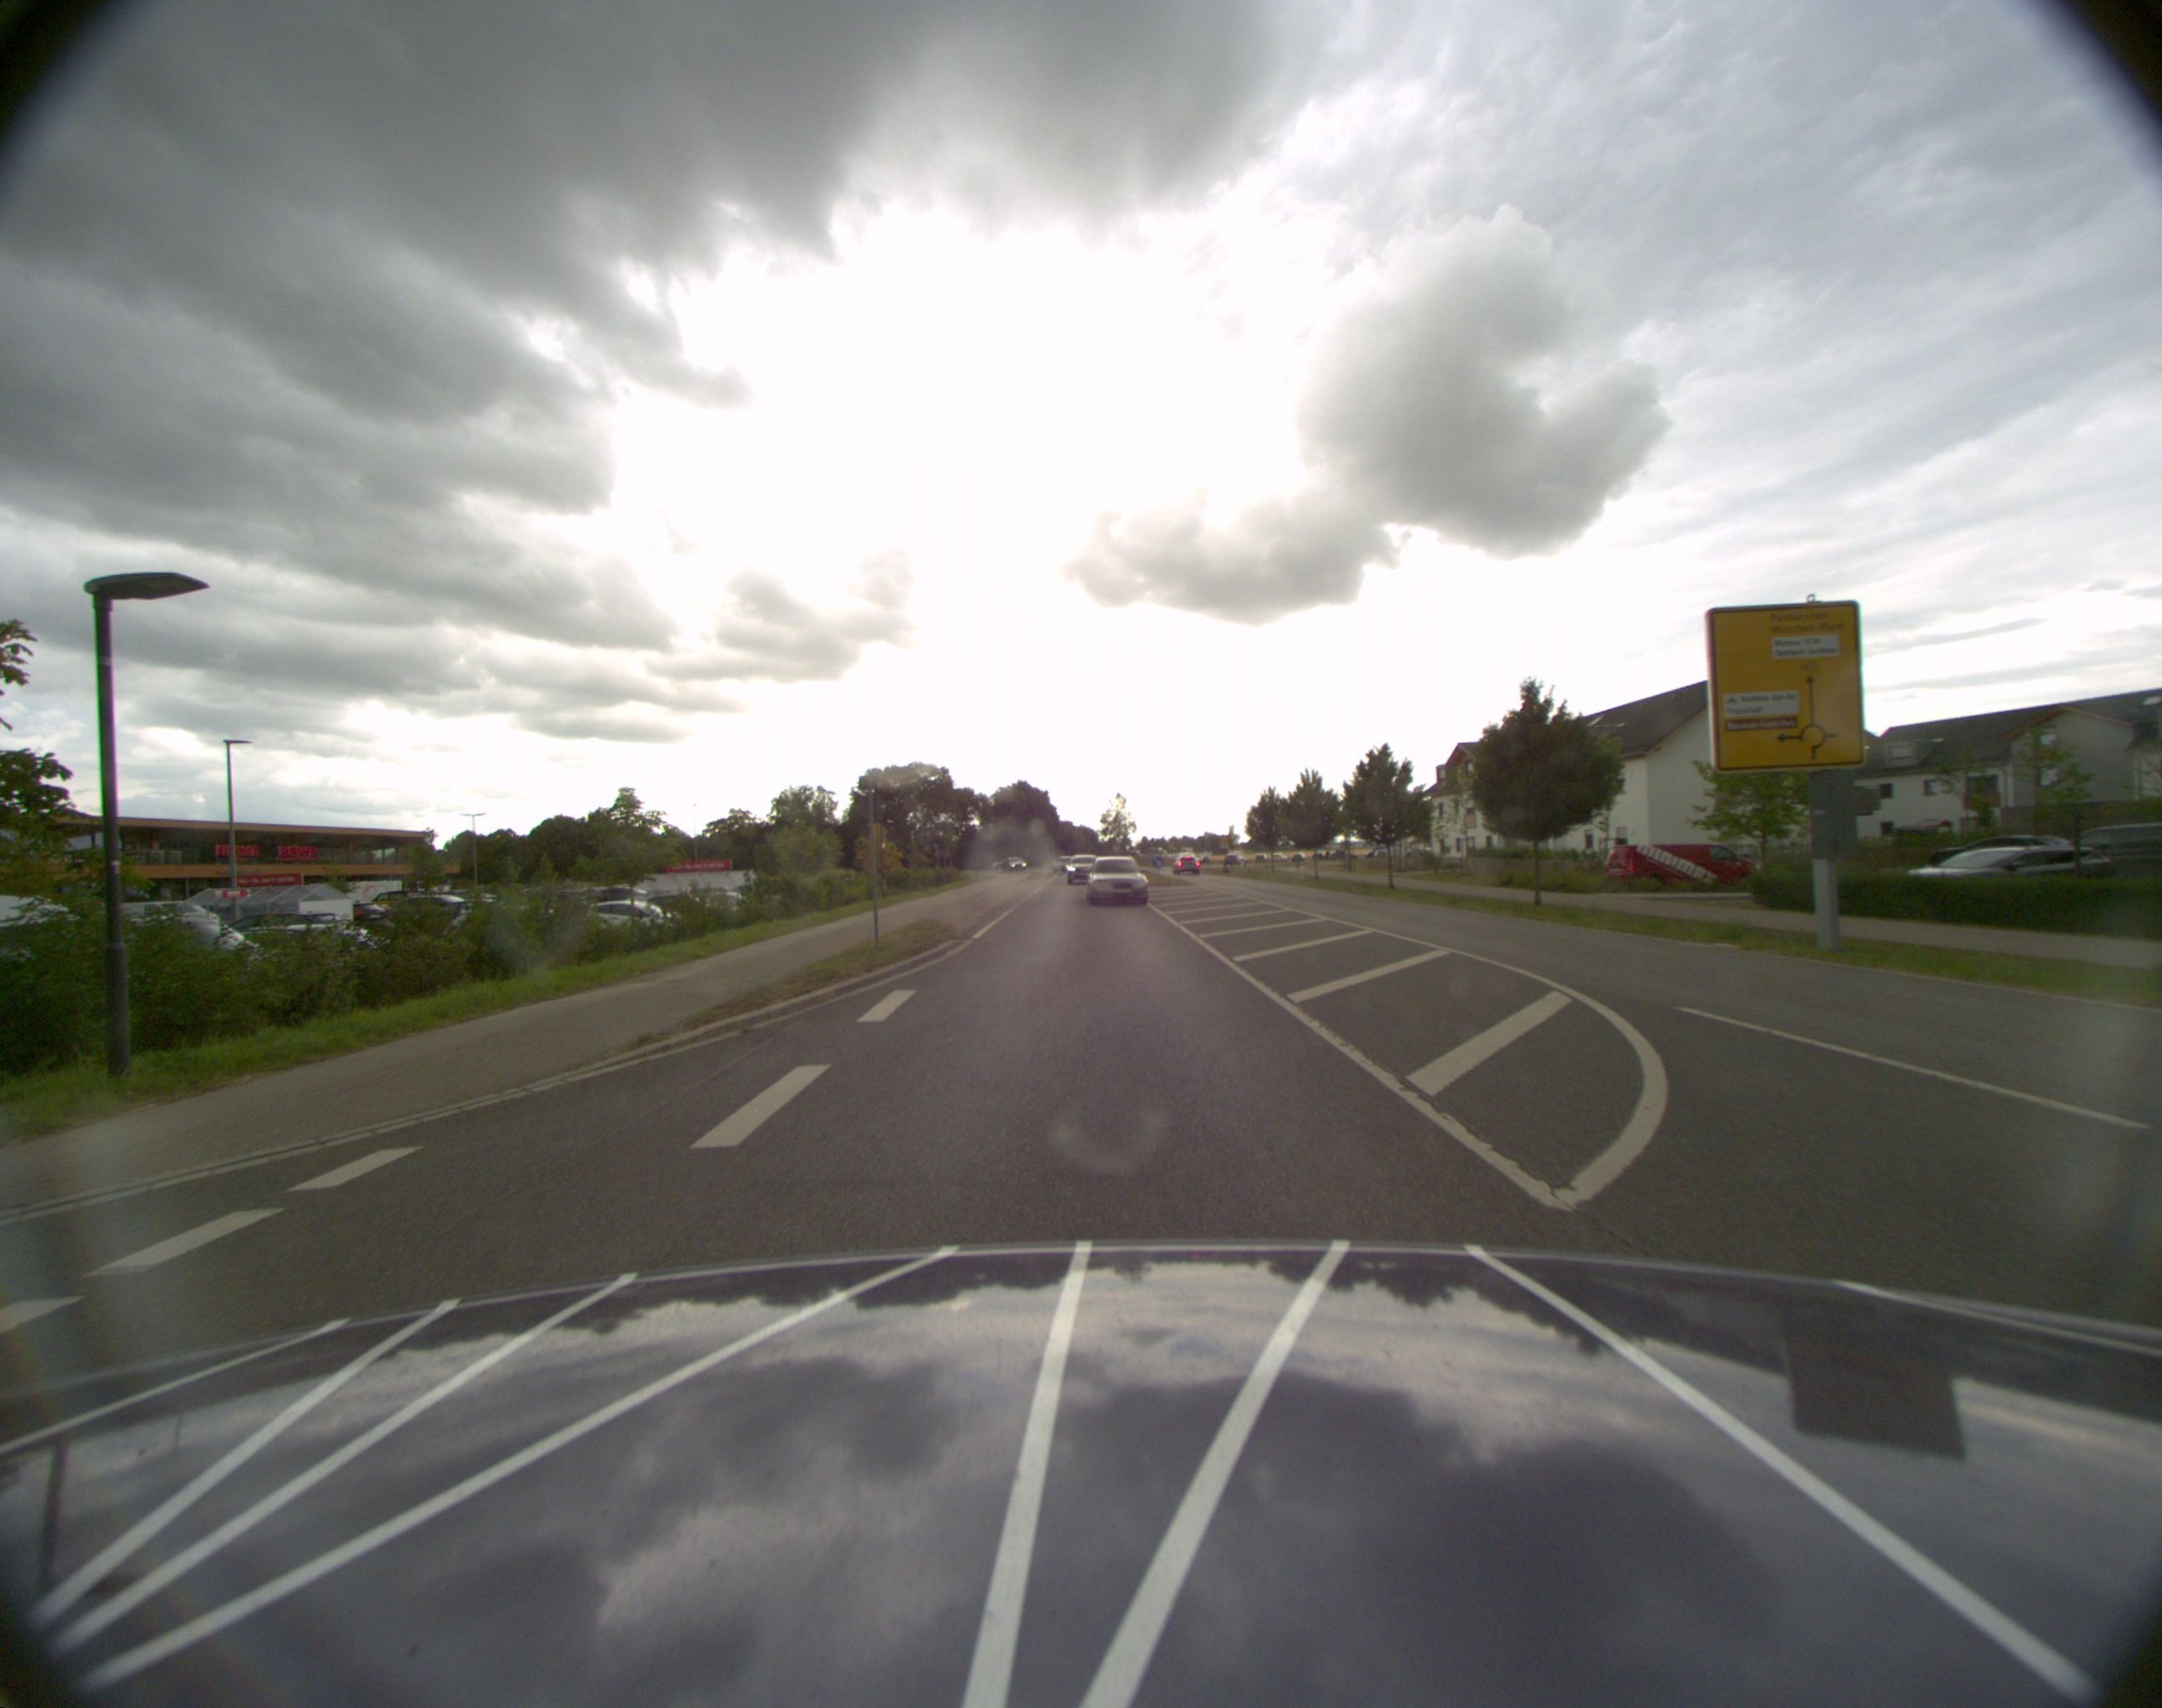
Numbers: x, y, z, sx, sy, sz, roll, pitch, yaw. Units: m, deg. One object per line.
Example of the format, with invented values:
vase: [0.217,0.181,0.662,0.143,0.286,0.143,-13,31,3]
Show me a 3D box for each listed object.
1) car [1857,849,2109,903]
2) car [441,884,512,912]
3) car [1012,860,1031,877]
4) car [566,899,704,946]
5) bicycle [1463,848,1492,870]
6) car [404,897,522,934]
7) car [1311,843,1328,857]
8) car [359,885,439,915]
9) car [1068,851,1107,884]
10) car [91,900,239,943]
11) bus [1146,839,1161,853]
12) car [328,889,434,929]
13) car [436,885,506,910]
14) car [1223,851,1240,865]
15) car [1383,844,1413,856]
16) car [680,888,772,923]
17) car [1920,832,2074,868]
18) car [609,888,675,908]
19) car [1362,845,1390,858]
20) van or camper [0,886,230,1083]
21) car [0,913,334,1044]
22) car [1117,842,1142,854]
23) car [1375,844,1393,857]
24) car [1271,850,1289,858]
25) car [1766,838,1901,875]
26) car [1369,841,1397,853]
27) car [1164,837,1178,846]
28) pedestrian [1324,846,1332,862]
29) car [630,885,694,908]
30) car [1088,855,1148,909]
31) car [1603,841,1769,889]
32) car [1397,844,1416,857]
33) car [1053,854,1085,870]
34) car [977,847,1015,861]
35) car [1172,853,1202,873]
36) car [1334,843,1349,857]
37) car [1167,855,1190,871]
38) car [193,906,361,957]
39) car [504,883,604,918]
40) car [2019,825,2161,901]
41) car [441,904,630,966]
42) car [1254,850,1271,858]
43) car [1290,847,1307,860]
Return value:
car: [25.822,0.611,21.888,4.917,1.422,1.906,-1,0,1]
car: [-46.895,3.417,58.989,3.995,2.002,2.072,-1,0,5]
car: [-6.888,1.659,87.293,2.000,1.827,3.997,-1,0,-7]
car: [-16.726,2.552,28.606,4.157,1.529,1.676,-1,0,-2]
bicycle: [25.701,0.332,49.262,0.684,1.404,2.343,-1,0,0]
car: [-29.780,2.938,36.724,3.997,1.433,2.000,-3,0,-1]
car: [36.991,-0.613,117.613,1.995,2.002,4.007,-1,0,25]
car: [-48.377,3.238,53.954,3.995,2.002,2.001,-1,0,5]
car: [0.434,0.688,41.204,1.870,1.578,5.063,-2,1,3]
car: [-47.484,3.456,39.479,5.142,2.002,2.000,-1,0,-1]
bus: [17.536,-1.899,183.726,2.991,3.261,6.484,-1,0,-1]
car: [-37.865,2.968,41.139,3.995,2.002,2.001,-1,0,5]
car: [-48.727,3.485,60.715,3.995,1.837,2.072,-1,0,5]
car: [16.934,0.430,85.404,1.773,1.435,4.004,-1,0,13]
car: [51.706,-0.672,124.018,4.000,2.002,1.998,-1,0,-8]
car: [-17.472,2.524,37.511,3.766,1.529,1.676,-1,0,-2]
car: [40.161,-0.166,33.481,1.998,1.499,4.000,-1,0,0]
car: [-34.942,3.465,60.500,4.127,1.476,2.001,-1,0,5]
car: [49.589,-0.419,127.744,4.001,2.002,1.998,-1,0,-12]
van or camper: [-16.759,1.766,10.818,6.484,2.450,2.281,-1,0,-2]
car: [-16.894,2.183,13.787,4.605,2.002,2.000,-1,0,-2]
car: [7.440,-0.920,116.504,1.994,1.674,4.008,-1,0,37]
car: [46.295,-0.497,116.026,1.995,2.002,4.007,-1,0,28]
car: [31.547,-0.047,120.399,1.995,1.280,4.007,-1,0,25]
car: [33.094,0.115,33.587,1.998,1.499,4.000,-1,0,0]
car: [52.170,-1.227,131.363,4.001,2.002,1.998,-1,0,-12]
car: [15.017,-2.040,127.080,1.774,1.435,4.000,-1,0,0]
pedestrian: [25.504,0.006,78.318,0.547,1.521,0.586,-3,0,0]
car: [-29.877,3.032,54.296,3.558,1.524,1.753,-1,0,-1]
car: [1.177,0.807,23.865,1.700,1.458,4.000,-1,1,3]
car: [23.944,0.421,30.235,4.915,1.805,1.907,-1,0,5]
car: [48.824,-0.531,113.984,2.226,2.002,4.007,-1,0,28]
car: [-1.185,0.752,74.638,2.002,1.510,3.764,-1,0,-21]
car: [-11.384,0.048,101.332,4.775,1.794,1.997,-1,0,-17]
car: [8.213,0.687,59.192,1.774,1.435,4.000,-1,0,0]
car: [39.776,-0.585,116.074,1.996,2.002,4.005,-1,0,15]
car: [9.742,0.920,76.067,1.830,1.573,4.216,0,0,0]
car: [-29.172,2.796,27.679,3.997,1.608,2.000,-1,0,0]
car: [-29.471,2.590,42.596,4.269,1.860,2.001,-1,0,5]
car: [31.068,0.215,21.773,1.998,2.002,5.201,-5,0,3]
car: [-16.388,2.406,23.024,4.157,1.588,2.080,-1,0,-2]
car: [29.103,-0.015,121.816,1.995,1.280,4.007,-1,0,25]
car: [34.236,-0.081,119.442,1.995,2.002,4.007,-1,0,25]
